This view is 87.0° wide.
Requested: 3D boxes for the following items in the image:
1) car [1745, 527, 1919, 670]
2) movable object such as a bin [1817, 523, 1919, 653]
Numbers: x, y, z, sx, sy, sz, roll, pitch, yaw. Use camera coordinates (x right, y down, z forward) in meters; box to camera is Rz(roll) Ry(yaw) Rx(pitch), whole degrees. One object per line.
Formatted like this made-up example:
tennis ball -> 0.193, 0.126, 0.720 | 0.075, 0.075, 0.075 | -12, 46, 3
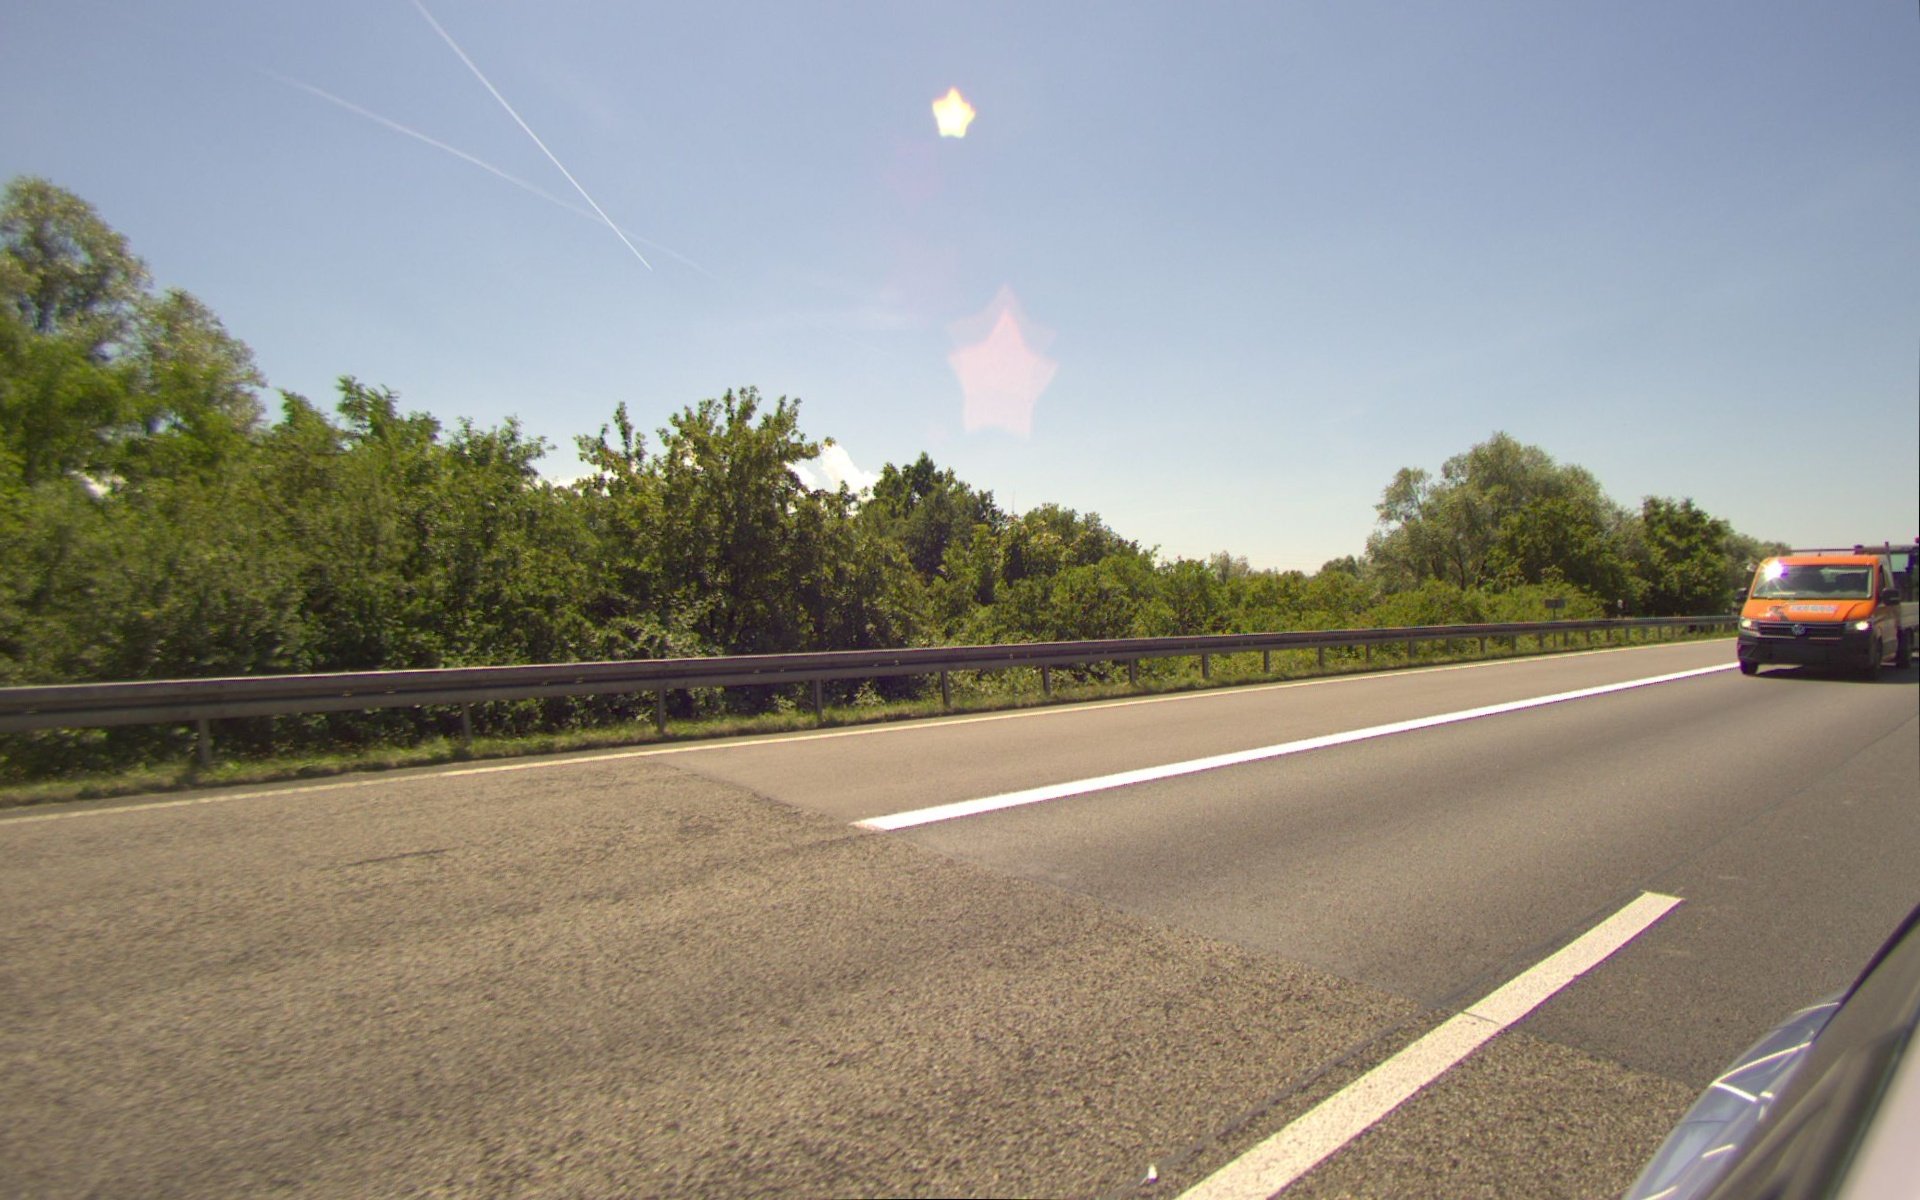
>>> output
car -> 17.869, -0.027, 20.244 | 7.098, 2.435, 1.997 | 0, 0, -40
movable object such as a bin -> 22.370, -0.262, 24.152 | 4.676, 2.851, 2.178 | 0, 0, -40
